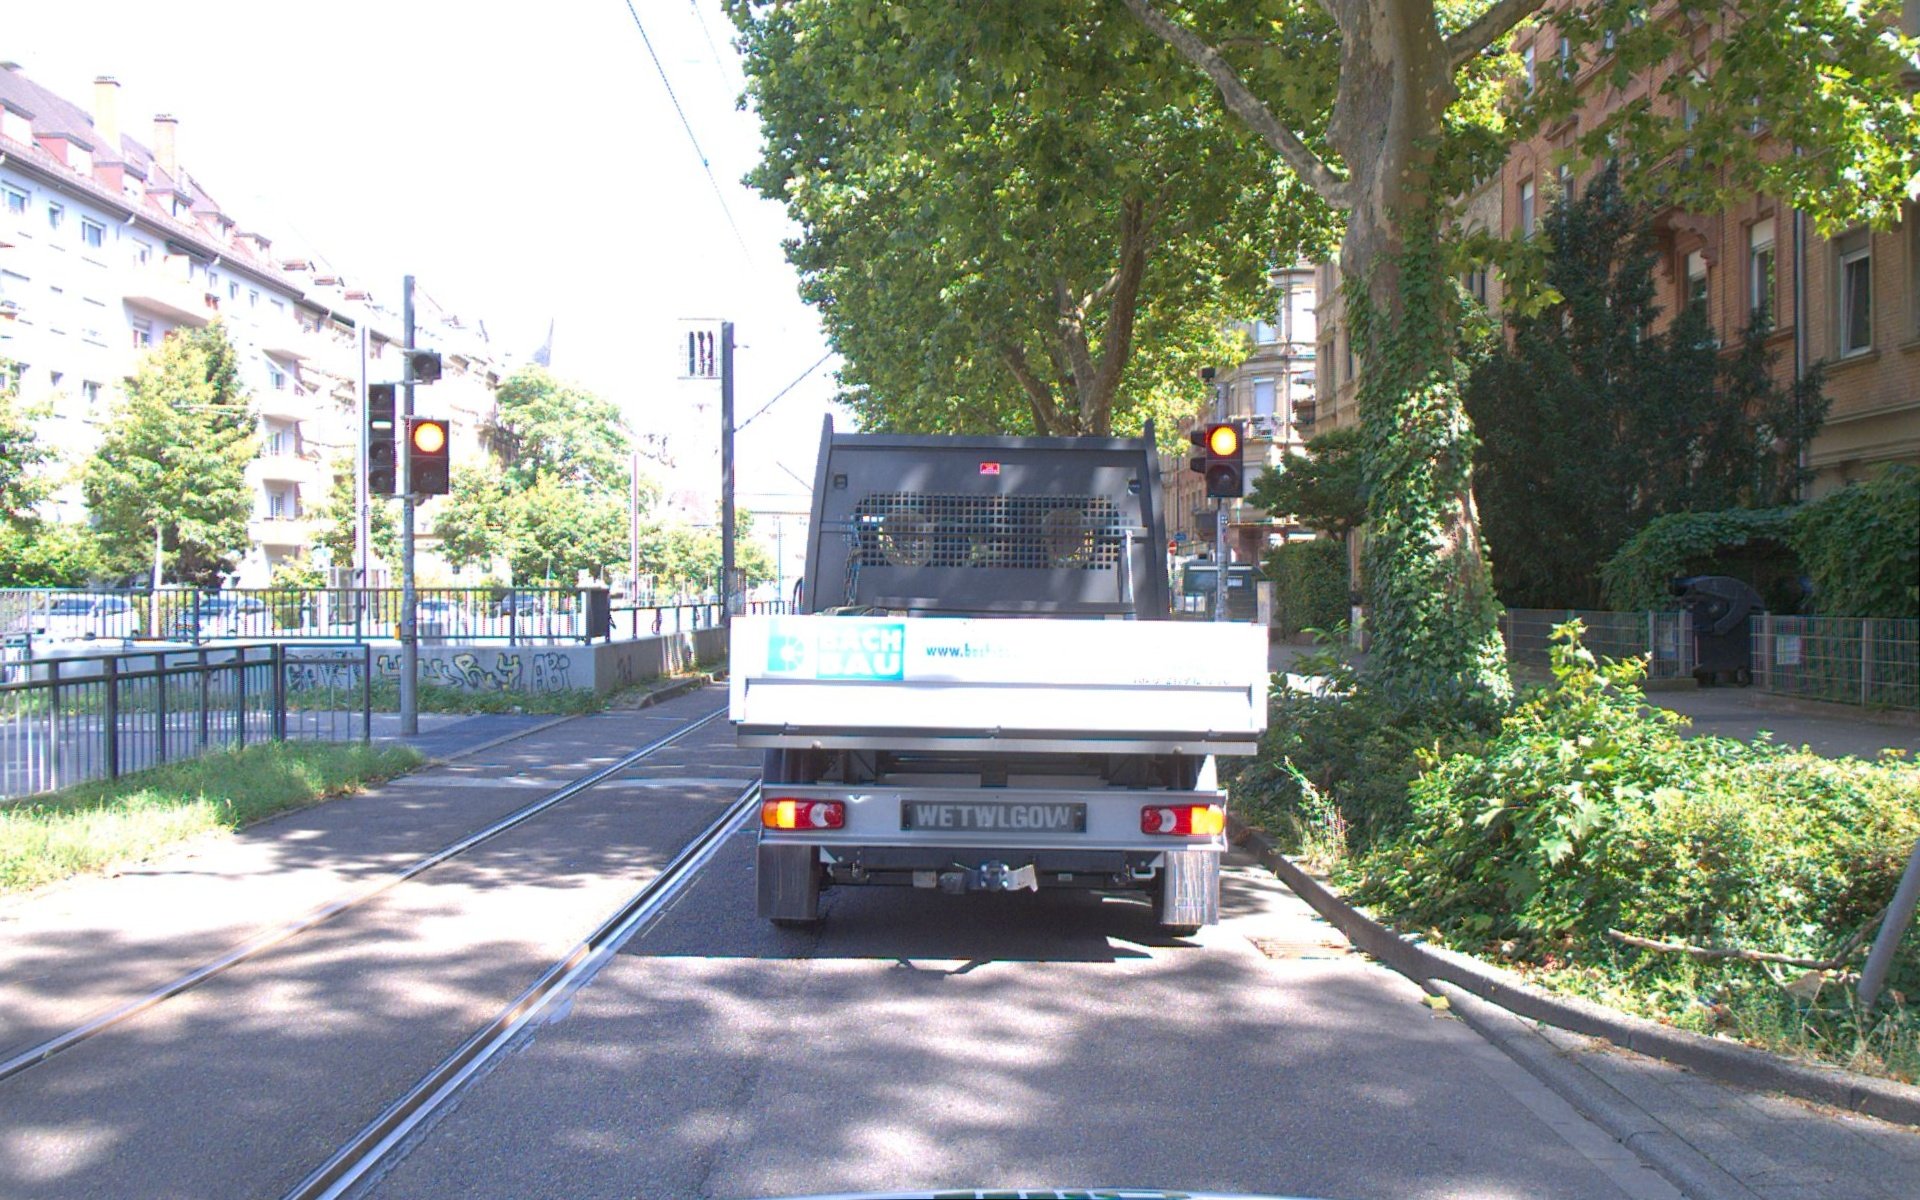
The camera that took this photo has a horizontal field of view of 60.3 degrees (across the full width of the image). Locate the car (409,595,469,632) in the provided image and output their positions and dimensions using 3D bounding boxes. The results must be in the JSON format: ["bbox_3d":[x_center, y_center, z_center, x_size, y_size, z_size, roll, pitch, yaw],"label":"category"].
[{"bbox_3d":[-22.439,0.554,71.385,1.736,1.524,3.994,0,0,-6],"label":"car"}]

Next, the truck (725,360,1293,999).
[{"bbox_3d":[0.185,0.286,8.332,2.094,2.359,4.401,0,0,0],"label":"truck"}]

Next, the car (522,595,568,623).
[{"bbox_3d":[-23.198,0.486,92.574,1.735,1.524,3.998,0,0,-2],"label":"car"}]

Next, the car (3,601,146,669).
[{"bbox_3d":[-21.955,0.836,41.172,1.737,1.524,3.994,-2,0,-6],"label":"car"}]

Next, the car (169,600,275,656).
[{"bbox_3d":[-22.140,0.810,49.749,1.737,1.524,3.994,-2,0,-6],"label":"car"}]

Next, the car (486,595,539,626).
[{"bbox_3d":[-22.914,0.512,84.742,1.735,1.524,3.998,0,0,-2],"label":"car"}]
